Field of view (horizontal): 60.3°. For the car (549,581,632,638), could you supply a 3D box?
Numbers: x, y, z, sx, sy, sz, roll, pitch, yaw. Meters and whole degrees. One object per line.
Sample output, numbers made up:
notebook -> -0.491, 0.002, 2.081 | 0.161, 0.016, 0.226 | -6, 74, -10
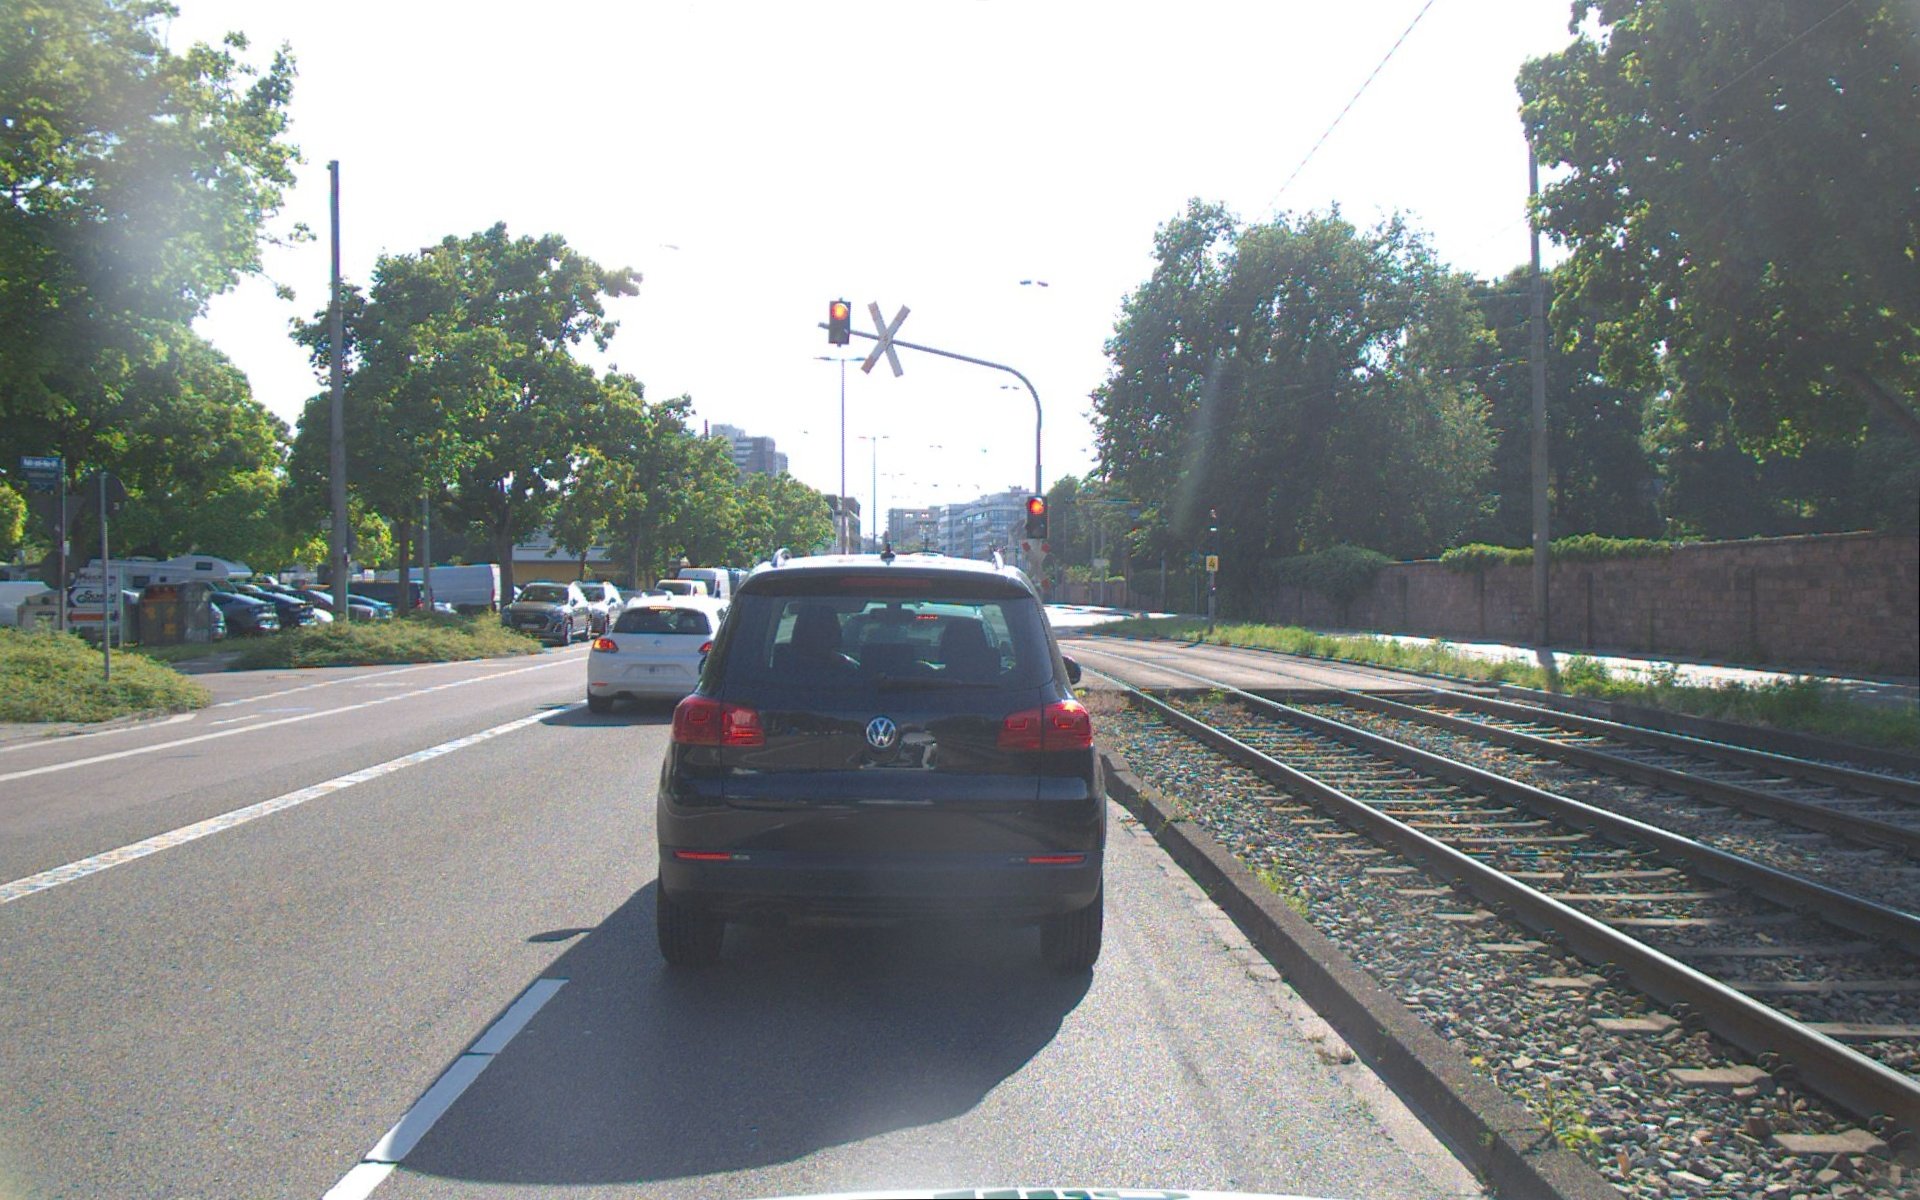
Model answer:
car -> -11.722, 0.267, 52.639 | 1.696, 1.724, 4.000 | 0, 1, 0

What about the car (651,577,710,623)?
car -> -11.791, -0.024, 69.998 | 1.696, 1.892, 4.489 | 0, 0, 0

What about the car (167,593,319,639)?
car -> -21.952, 0.475, 50.755 | 3.908, 1.330, 1.736 | 0, 0, -4

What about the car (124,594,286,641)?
car -> -21.930, 0.494, 48.149 | 3.908, 1.330, 1.736 | 0, 0, -4

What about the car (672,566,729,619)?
car -> -11.973, -0.352, 76.668 | 1.825, 2.388, 4.985 | 0, 0, 0

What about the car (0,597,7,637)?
car -> -35.083, 0.604, 56.717 | 3.903, 1.384, 1.628 | 0, 0, 4

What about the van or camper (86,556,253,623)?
van or camper -> -35.327, -0.484, 74.023 | 6.332, 2.918, 2.307 | 0, 0, -1

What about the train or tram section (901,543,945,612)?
train or tram section -> -1.995, -1.215, 90.828 | 2.279, 3.632, 8.898 | 0, 1, -1

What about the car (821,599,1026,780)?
car -> -0.323, 0.719, 15.302 | 1.635, 1.411, 3.999 | 0, 1, -1

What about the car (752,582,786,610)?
car -> -12.282, -0.300, 106.522 | 1.696, 1.724, 4.000 | 0, 1, 0

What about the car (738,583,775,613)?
car -> -12.426, -0.132, 101.200 | 1.696, 1.724, 4.000 | 0, 1, 0

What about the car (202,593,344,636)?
car -> -22.359, 0.449, 53.956 | 3.908, 1.330, 1.736 | 0, 0, -4

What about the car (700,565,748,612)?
car -> -11.889, -0.598, 83.498 | 1.696, 2.308, 4.645 | 0, 0, 0

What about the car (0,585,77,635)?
car -> -33.947, 0.360, 59.046 | 3.912, 1.758, 1.624 | 0, 0, -8

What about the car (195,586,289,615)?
car -> -35.726, 0.024, 82.356 | 3.908, 1.422, 1.736 | 0, 0, -4

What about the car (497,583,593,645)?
car -> -11.702, 0.365, 46.879 | 1.696, 1.686, 4.000 | 0, 0, 0

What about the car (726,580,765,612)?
car -> -12.310, -0.252, 95.138 | 1.696, 1.724, 4.000 | 0, 1, 0

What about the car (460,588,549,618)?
car -> -22.161, 0.148, 80.516 | 3.908, 1.422, 1.736 | 0, 0, -4

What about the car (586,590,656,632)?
car -> -12.009, 0.362, 58.792 | 1.696, 1.413, 3.735 | 0, 1, 0

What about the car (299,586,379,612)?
car -> -35.349, -0.069, 94.281 | 3.908, 1.422, 1.736 | 0, 0, -4

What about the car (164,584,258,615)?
car -> -34.913, -0.032, 77.201 | 3.591, 1.422, 1.736 | 0, 0, -4

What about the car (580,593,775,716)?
car -> -3.450, 0.612, 20.896 | 1.827, 1.371, 3.999 | 1, 1, -1

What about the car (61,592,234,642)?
car -> -22.409, 0.456, 45.727 | 3.908, 1.330, 1.736 | 0, 0, -4

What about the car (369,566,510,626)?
car -> -21.859, -0.166, 69.603 | 5.266, 2.466, 2.087 | 0, 0, -1

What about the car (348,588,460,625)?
car -> -22.207, 0.262, 66.123 | 3.908, 1.422, 1.736 | 0, 0, -4

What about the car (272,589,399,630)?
car -> -22.314, 0.316, 59.196 | 3.908, 1.422, 1.736 | 0, 0, -4

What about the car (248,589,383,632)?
car -> -21.881, 0.340, 56.244 | 3.908, 1.422, 1.736 | 0, 0, -4

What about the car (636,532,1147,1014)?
car -> -0.266, 0.606, 7.813 | 1.774, 1.673, 3.999 | 1, 0, -1

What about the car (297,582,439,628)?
car -> -22.001, 0.172, 61.596 | 4.526, 1.680, 2.048 | 0, 0, -3
